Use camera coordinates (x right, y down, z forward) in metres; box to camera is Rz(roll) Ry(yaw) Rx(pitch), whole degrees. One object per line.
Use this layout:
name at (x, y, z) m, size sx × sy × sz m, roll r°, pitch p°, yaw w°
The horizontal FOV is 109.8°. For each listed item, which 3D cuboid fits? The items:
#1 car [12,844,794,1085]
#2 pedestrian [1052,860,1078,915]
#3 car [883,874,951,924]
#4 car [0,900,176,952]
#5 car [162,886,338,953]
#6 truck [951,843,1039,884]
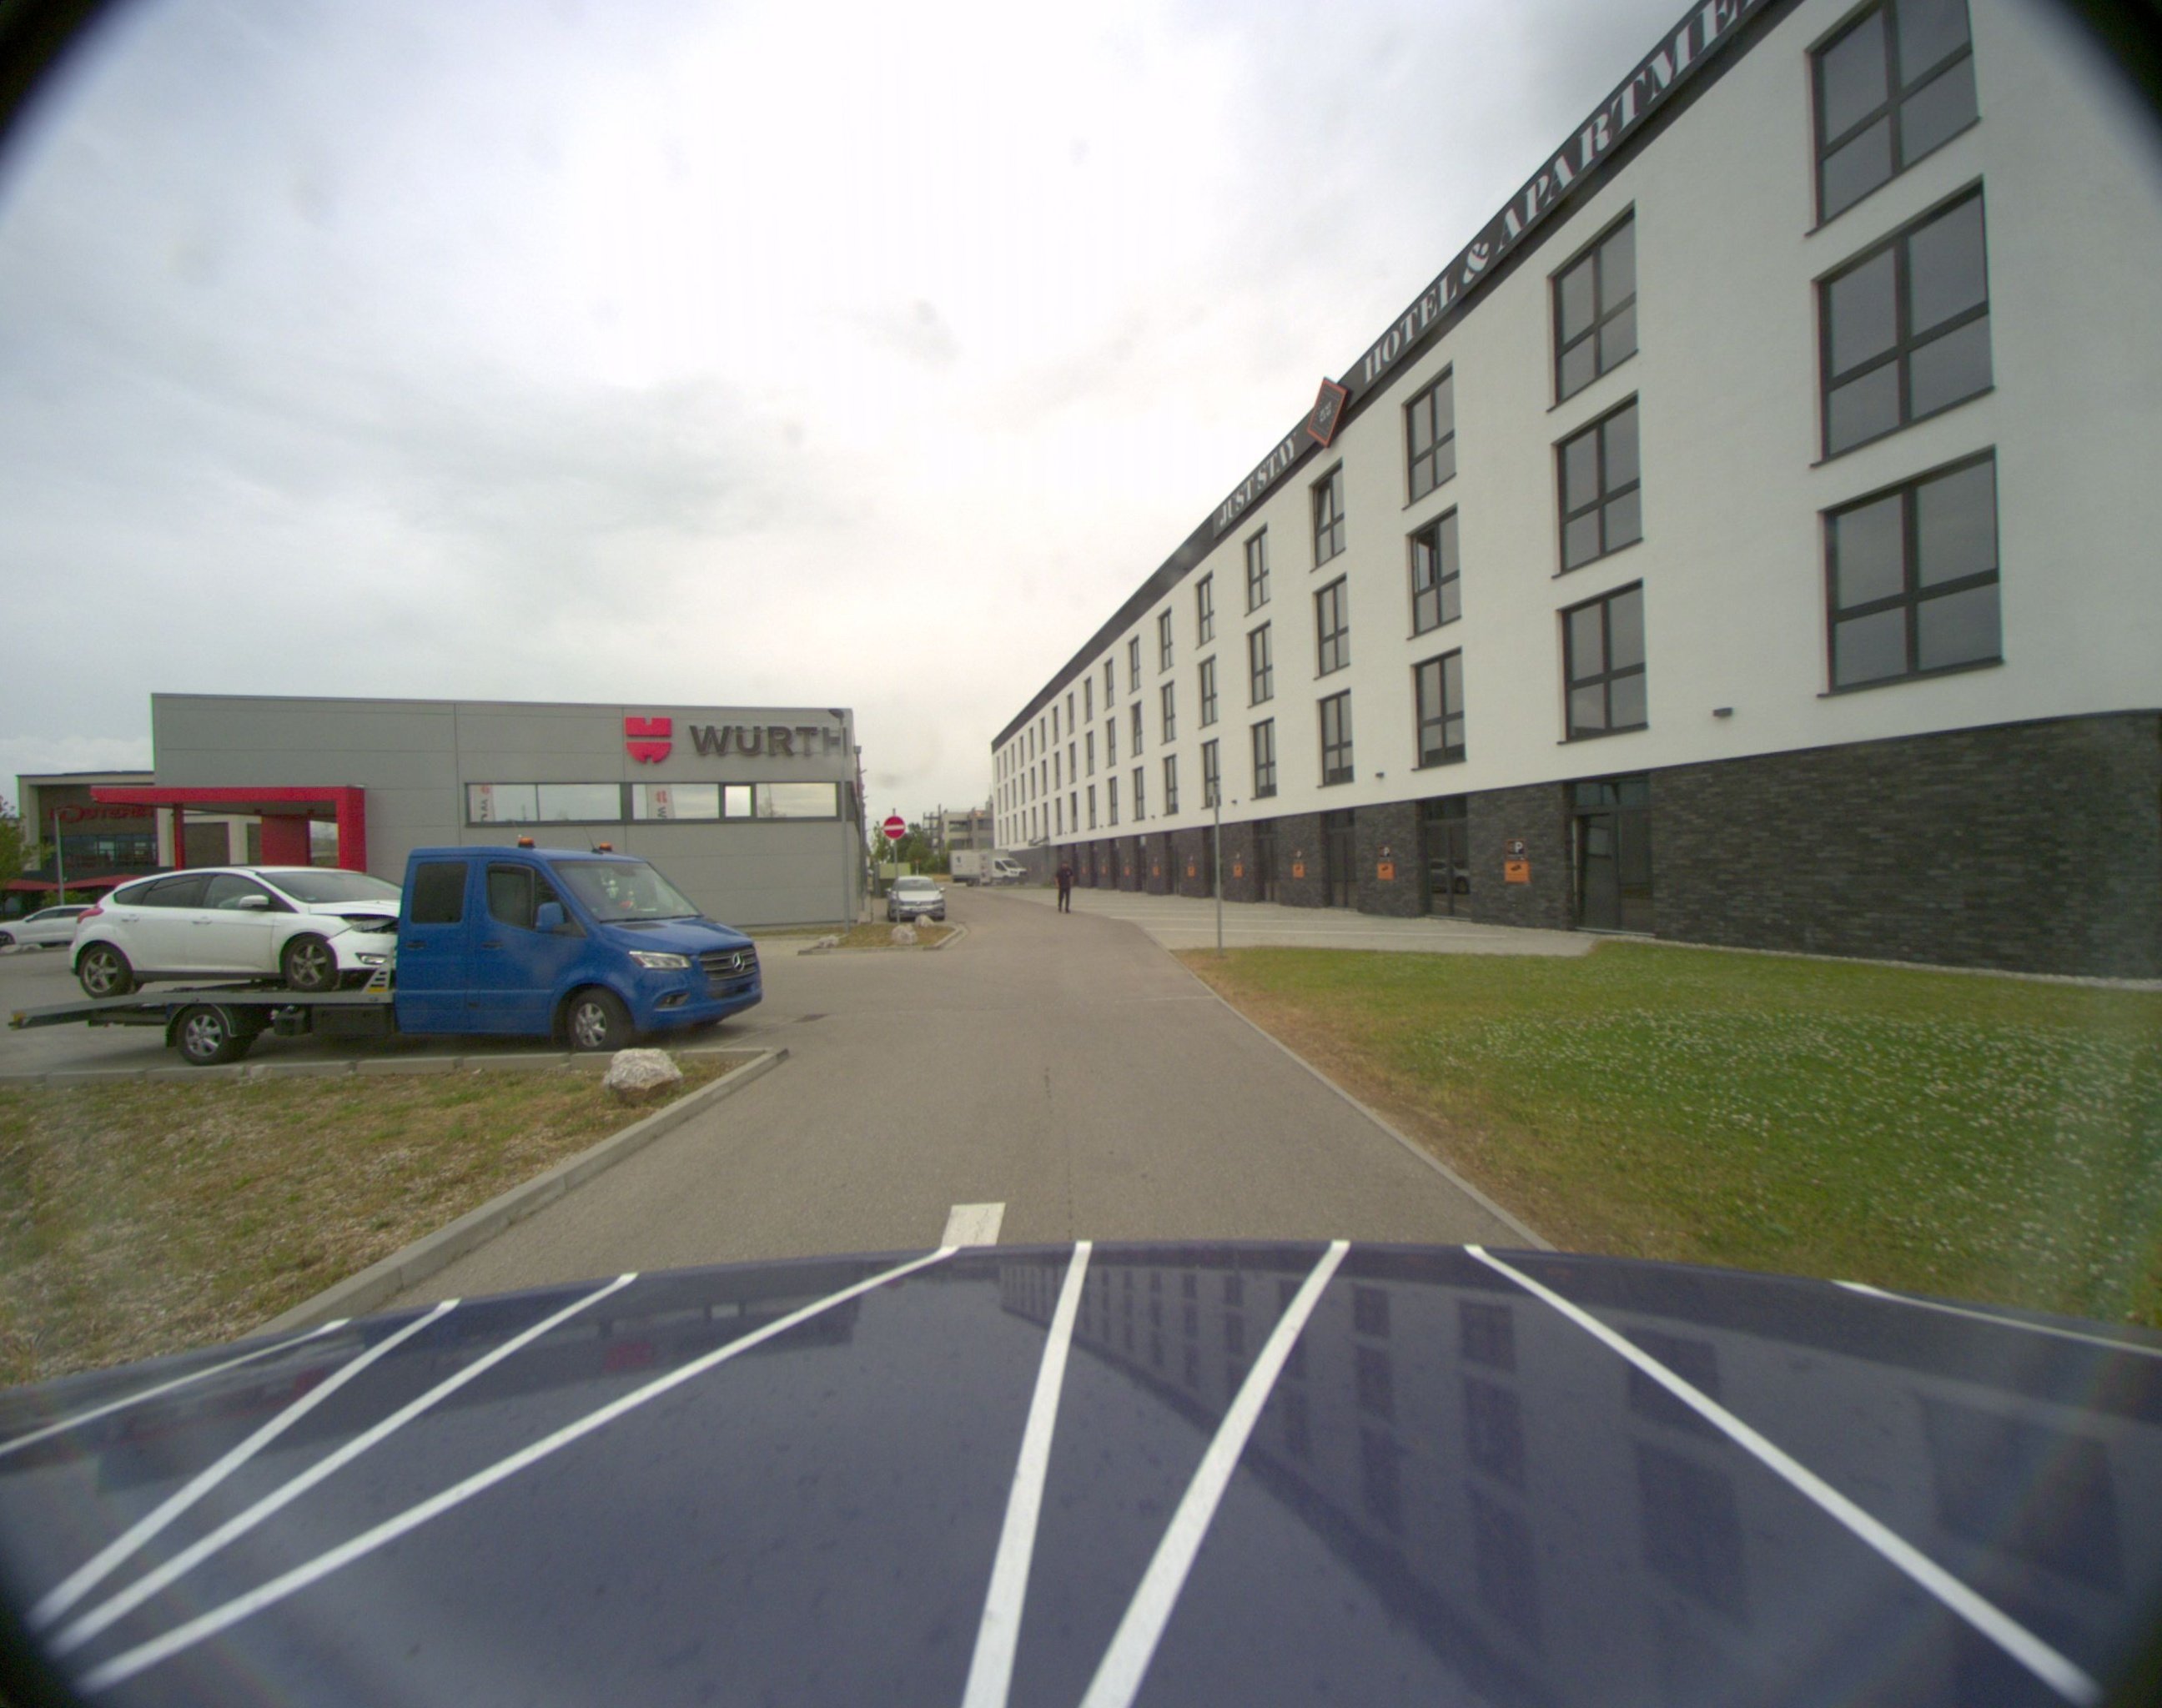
car at (-7.656, 1.185, 8.904) m, size 7.846 × 2.309 × 2.202 m, roll -2°, pitch 0°, yaw 8°
pedestrian at (-0.551, 1.125, 25.896) m, size 0.710 × 1.811 × 0.812 m, roll -2°, pitch 0°, yaw -9°
car at (-5.632, 1.481, 26.620) m, size 1.981 × 1.483 × 4.767 m, roll 0°, pitch 0°, yaw -8°
car at (-41.125, 2.933, 31.323) m, size 4.743 × 1.738 × 1.756 m, roll -3°, pitch 0°, yaw -13°
car at (-28.439, 2.198, 26.137) m, size 3.677 × 1.968 × 1.674 m, roll -3°, pitch 1°, yaw -14°
truck at (-6.926, 0.776, 60.741) m, size 7.050 × 2.999 × 2.441 m, roll -2°, pitch 1°, yaw 36°
